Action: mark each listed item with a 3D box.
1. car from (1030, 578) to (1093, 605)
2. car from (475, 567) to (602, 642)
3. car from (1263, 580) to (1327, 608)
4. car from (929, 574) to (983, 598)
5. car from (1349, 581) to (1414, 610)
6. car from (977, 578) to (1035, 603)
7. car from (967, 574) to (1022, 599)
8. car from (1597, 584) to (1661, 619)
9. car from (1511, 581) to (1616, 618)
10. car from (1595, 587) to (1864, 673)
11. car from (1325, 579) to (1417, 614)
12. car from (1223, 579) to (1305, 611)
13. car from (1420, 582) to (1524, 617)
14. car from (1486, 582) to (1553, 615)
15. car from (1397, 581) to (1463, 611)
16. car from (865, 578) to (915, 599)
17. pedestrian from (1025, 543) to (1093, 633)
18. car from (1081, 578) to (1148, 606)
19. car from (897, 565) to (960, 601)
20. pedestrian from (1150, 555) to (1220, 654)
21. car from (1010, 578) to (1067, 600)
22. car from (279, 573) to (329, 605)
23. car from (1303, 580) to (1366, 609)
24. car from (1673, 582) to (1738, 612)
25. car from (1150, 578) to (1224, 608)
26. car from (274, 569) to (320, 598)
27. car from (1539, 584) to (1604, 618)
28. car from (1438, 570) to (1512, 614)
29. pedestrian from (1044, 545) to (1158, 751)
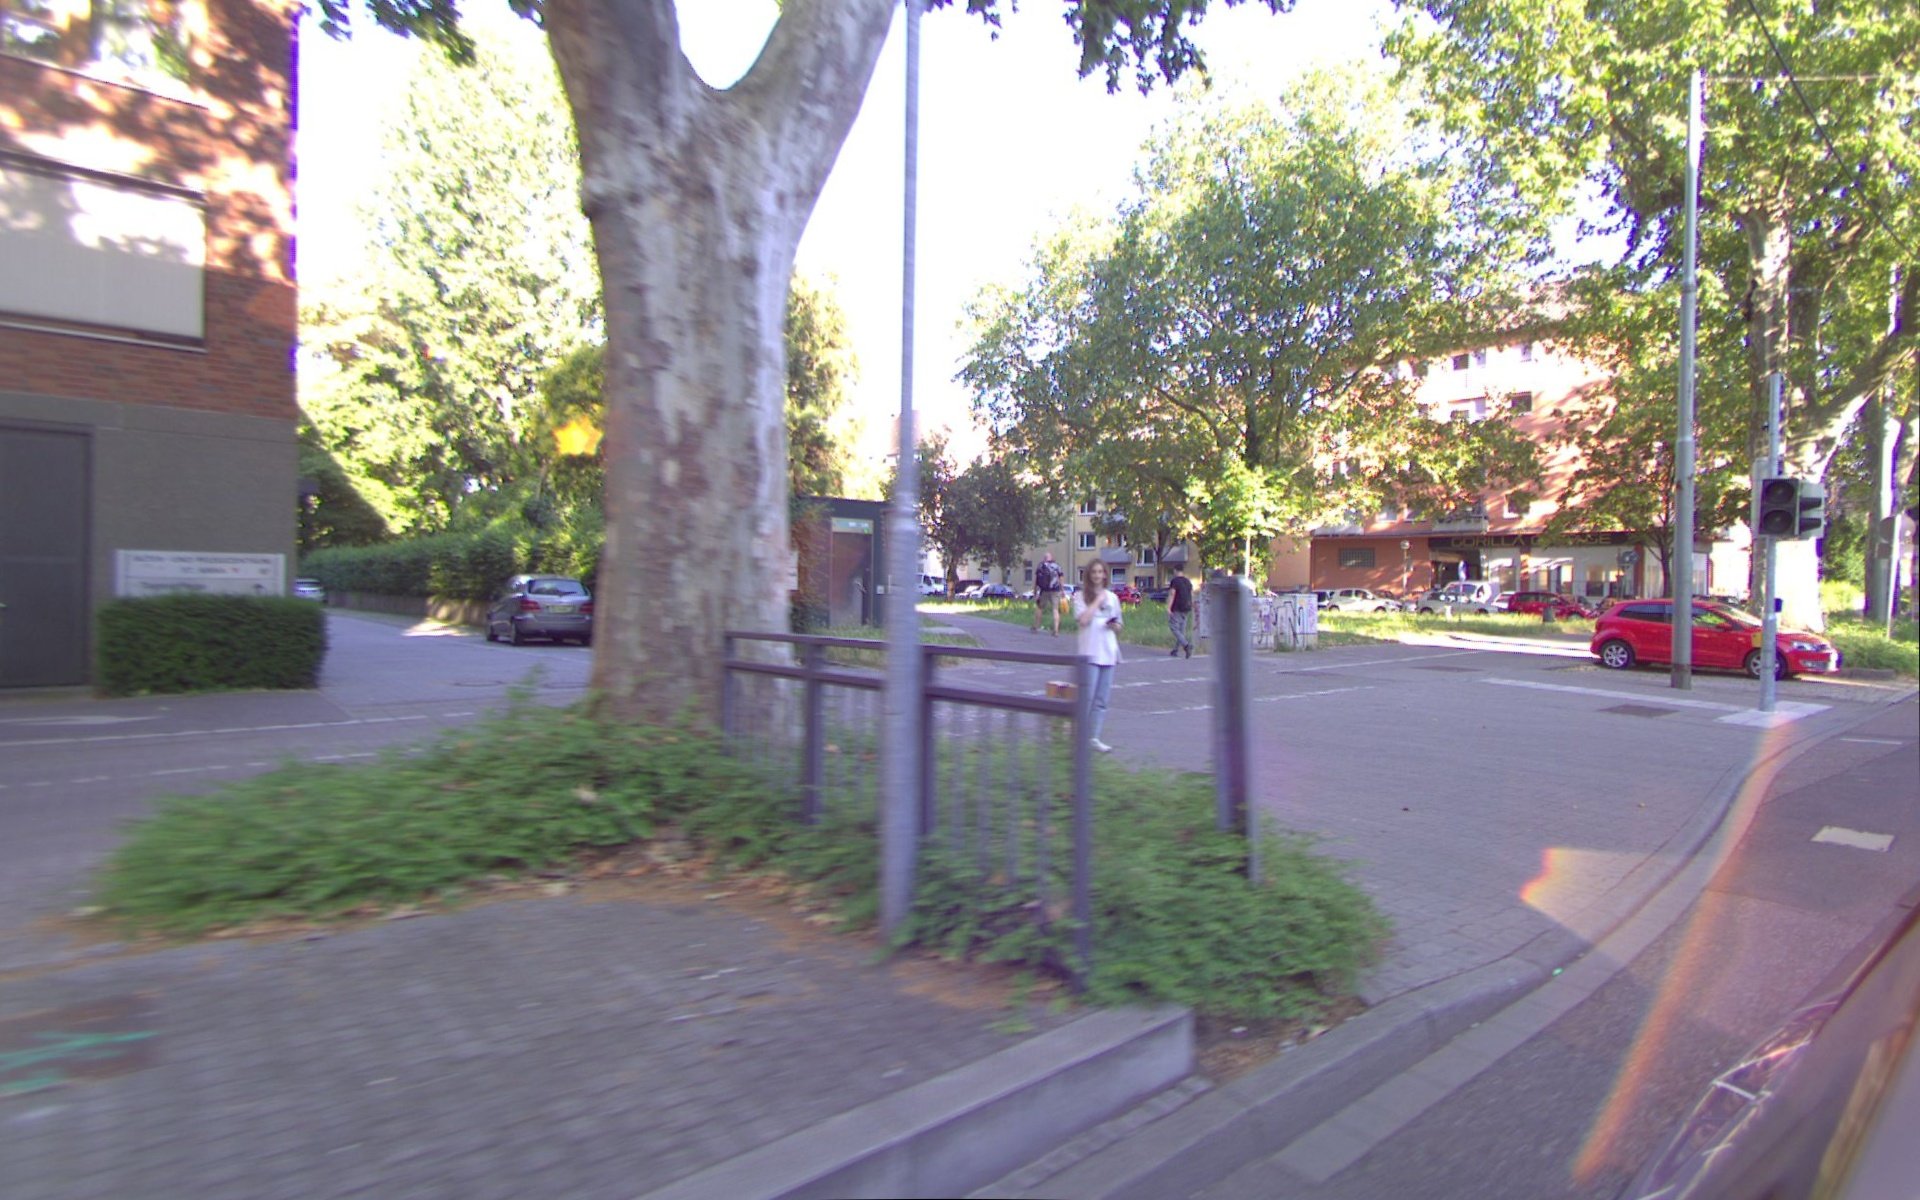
[{"bbox_3d":[6.487,-0.568,65.146,1.655,1.601,3.924,0,2,-42],"label":"car"},{"bbox_3d":[-9.837,0.058,23.485,1.759,1.584,3.998,0,1,-38],"label":"car"},{"bbox_3d":[20.412,-0.357,61.541,4.503,1.594,1.790,0,2,-44],"label":"car"},{"bbox_3d":[-0.304,-1.142,84.028,4.503,1.931,1.790,0,2,-44],"label":"car"},{"bbox_3d":[24.055,-0.272,57.690,4.503,1.594,1.790,0,2,-44],"label":"car"},{"bbox_3d":[3.128,-0.653,69.279,1.655,1.601,3.924,0,2,-42],"label":"car"},{"bbox_3d":[2.762,-1.070,80.362,4.503,1.931,1.790,0,2,-44],"label":"car"},{"bbox_3d":[32.193,0.056,48.657,1.789,1.594,4.505,2,2,44],"label":"car"},{"bbox_3d":[25.895,-0.041,43.516,1.655,1.470,3.543,0,2,-42],"label":"car"},{"bbox_3d":[14.923,0.499,19.812,1.618,1.441,3.897,0,2,-37],"label":"car"},{"bbox_3d":[20.378,-0.199,50.274,1.655,1.601,3.924,0,2,-42],"label":"car"},{"bbox_3d":[16.364,-0.294,54.582,1.655,1.601,3.924,0,2,-42],"label":"car"},{"bbox_3d":[23.585,-0.055,46.694,1.655,1.470,3.924,0,2,-42],"label":"car"},{"bbox_3d":[28.960,-0.089,52.310,4.503,1.594,1.790,0,2,-44],"label":"car"},{"bbox_3d":[25.806,-0.226,55.517,4.503,1.594,1.790,0,2,-44],"label":"car"},{"bbox_3d":[-5.502,-0.915,79.127,1.769,1.529,3.993,0,2,-42],"label":"car"},{"bbox_3d":[2.196,-0.284,22.423,0.983,1.886,1.000,6,4,44],"label":"pedestrian"},{"bbox_3d":[9.441,-0.496,61.962,1.655,1.601,3.924,0,2,-42],"label":"car"},{"bbox_3d":[-2.395,-1.294,75.566,1.942,2.594,5.037,0,1,-42],"label":"car"},{"bbox_3d":[4.313,0.066,19.406,0.995,1.833,0.850,2,1,45],"label":"pedestrian"},{"bbox_3d":[6.030,-0.836,77.524,4.503,1.594,1.790,0,2,-44],"label":"car"},{"bbox_3d":[-33.684,-0.554,51.935,1.760,1.584,3.997,0,1,-38],"label":"car"},{"bbox_3d":[22.237,-0.322,60.019,4.503,1.594,1.790,0,2,-44],"label":"car"},{"bbox_3d":[38.704,-0.161,52.497,4.389,1.452,1.752,0,2,-40],"label":"car"},{"bbox_3d":[13.000,-0.408,58.053,1.655,1.601,3.924,0,2,-42],"label":"car"},{"bbox_3d":[-36.957,-0.926,56.380,1.760,1.584,3.997,0,1,-38],"label":"car"},{"bbox_3d":[30.112,0.026,49.782,1.789,1.594,4.505,2,2,44],"label":"car"},{"bbox_3d":[27.459,-0.438,53.879,5.000,2.211,1.914,0,1,-44],"label":"car"},{"bbox_3d":[1.220,0.384,8.767,0.725,1.689,0.653,0,1,-41],"label":"pedestrian"}]
